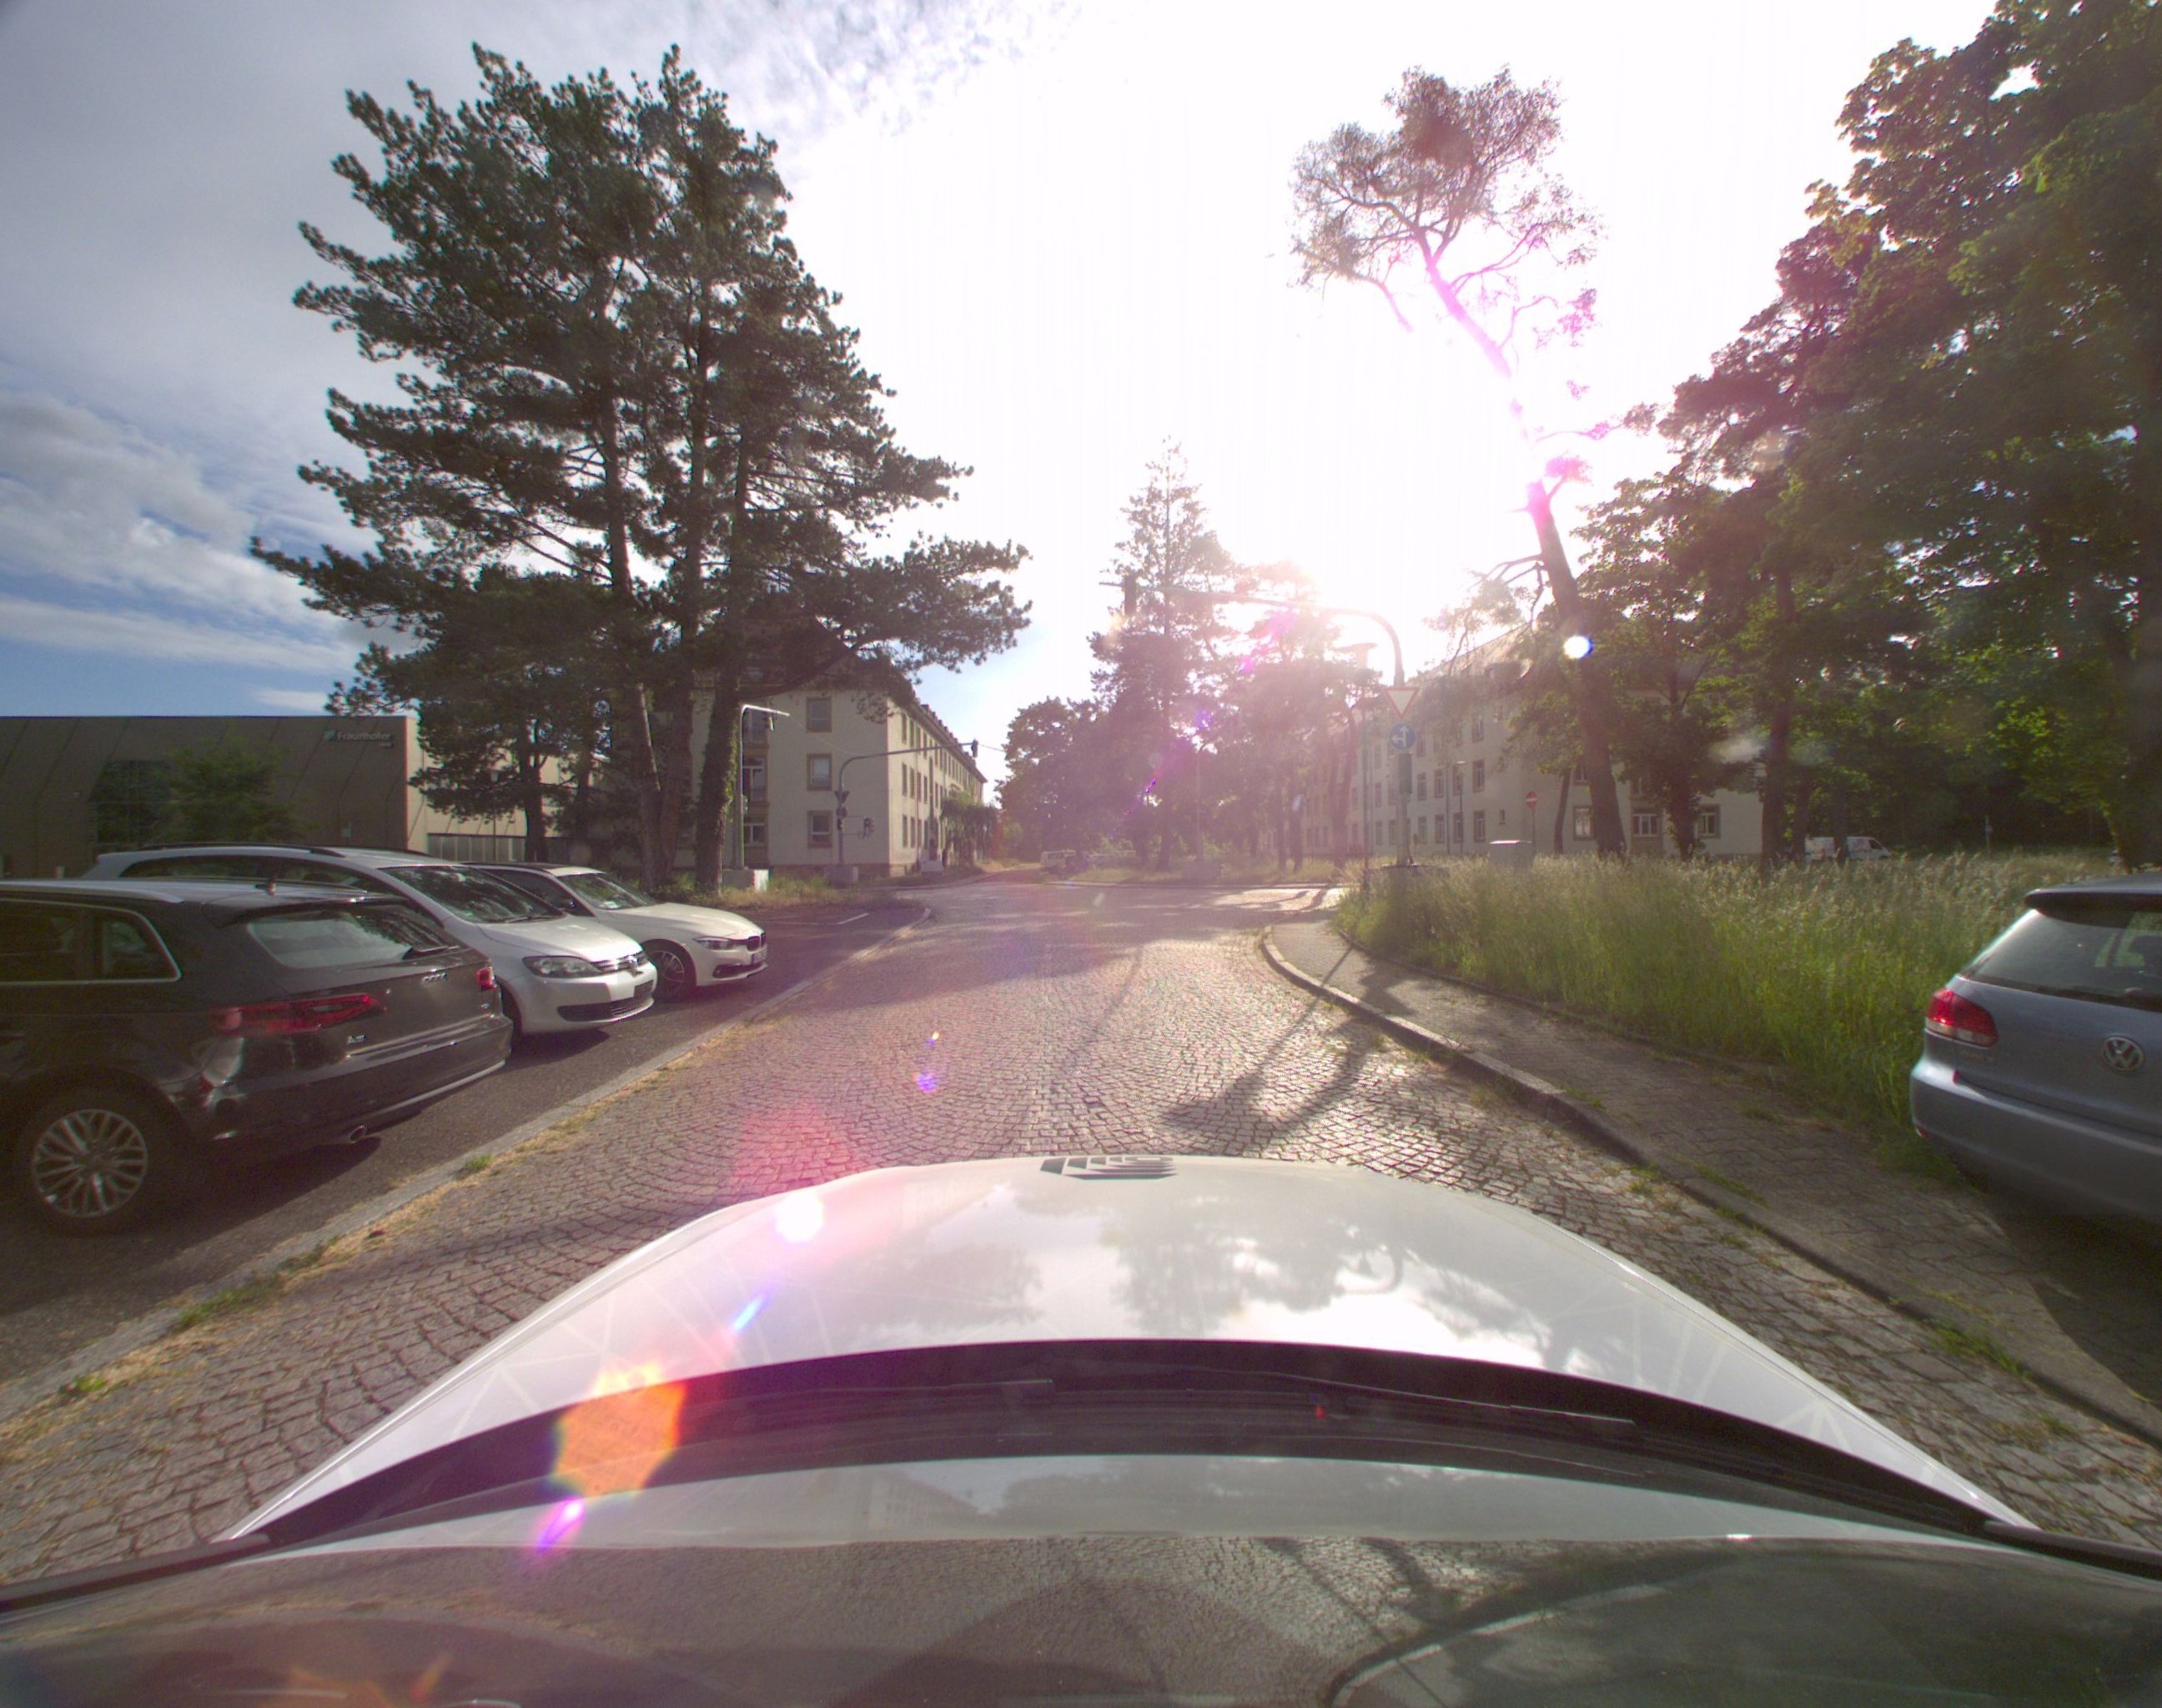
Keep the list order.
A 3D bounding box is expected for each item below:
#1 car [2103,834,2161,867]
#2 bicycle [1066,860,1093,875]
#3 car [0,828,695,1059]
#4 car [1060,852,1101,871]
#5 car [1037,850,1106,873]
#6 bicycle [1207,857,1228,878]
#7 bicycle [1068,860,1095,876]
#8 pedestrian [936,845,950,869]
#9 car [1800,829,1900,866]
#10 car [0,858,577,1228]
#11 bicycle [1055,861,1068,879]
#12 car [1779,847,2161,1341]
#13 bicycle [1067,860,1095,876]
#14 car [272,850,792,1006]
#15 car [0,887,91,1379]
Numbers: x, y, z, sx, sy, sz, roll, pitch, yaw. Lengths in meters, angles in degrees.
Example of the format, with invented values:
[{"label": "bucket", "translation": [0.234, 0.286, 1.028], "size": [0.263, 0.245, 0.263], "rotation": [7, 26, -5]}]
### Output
[{"label": "car", "translation": [56.243, -0.186, 42.432], "size": [3.925, 1.679, 1.853], "rotation": [-1, -1, -5]}, {"label": "bicycle", "translation": [-0.096, 0.929, 56.322], "size": [1.789, 0.999, 0.643], "rotation": [-1, 1, -4]}, {"label": "car", "translation": [-5.802, 0.697, 6.886], "size": [4.117, 1.600, 1.854], "rotation": [2, -1, -7]}, {"label": "car", "translation": [-0.062, 0.633, 66.177], "size": [3.037, 1.465, 1.711], "rotation": [0, -1, -15]}, {"label": "car", "translation": [-0.860, 0.634, 69.705], "size": [5.513, 1.916, 2.242], "rotation": [0, -1, -16]}, {"label": "bicycle", "translation": [6.695, 0.647, 39.958], "size": [0.561, 0.999, 1.748], "rotation": [-1, 1, -6]}, {"label": "bicycle", "translation": [0.033, 0.906, 53.807], "size": [1.789, 0.999, 0.643], "rotation": [-1, 1, -4]}, {"label": "pedestrian", "translation": [-11.079, 0.251, 65.622], "size": [0.983, 1.963, 0.931], "rotation": [-1, -1, -3]}, {"label": "car", "translation": [55.174, -0.453, 58.494], "size": [5.144, 2.536, 2.263], "rotation": [-1, -1, -1]}, {"label": "car", "translation": [-5.157, 0.788, 4.222], "size": [3.820, 1.429, 1.856], "rotation": [2, -1, -4]}, {"label": "bicycle", "translation": [-1.202, 0.986, 50.155], "size": [0.726, 0.999, 1.797], "rotation": [-1, 1, -2]}, {"label": "car", "translation": [5.570, 0.701, 2.980], "size": [4.535, 1.505, 1.930], "rotation": [-1, -1, -5]}, {"label": "bicycle", "translation": [-0.006, 0.916, 54.826], "size": [1.789, 0.999, 0.643], "rotation": [-1, 1, -4]}, {"label": "car", "translation": [-5.985, 0.789, 9.420], "size": [4.579, 1.455, 1.900], "rotation": [2, 1, -5]}, {"label": "car", "translation": [-5.024, 0.777, 1.573], "size": [3.676, 1.473, 1.847], "rotation": [2, -1, -4]}]
